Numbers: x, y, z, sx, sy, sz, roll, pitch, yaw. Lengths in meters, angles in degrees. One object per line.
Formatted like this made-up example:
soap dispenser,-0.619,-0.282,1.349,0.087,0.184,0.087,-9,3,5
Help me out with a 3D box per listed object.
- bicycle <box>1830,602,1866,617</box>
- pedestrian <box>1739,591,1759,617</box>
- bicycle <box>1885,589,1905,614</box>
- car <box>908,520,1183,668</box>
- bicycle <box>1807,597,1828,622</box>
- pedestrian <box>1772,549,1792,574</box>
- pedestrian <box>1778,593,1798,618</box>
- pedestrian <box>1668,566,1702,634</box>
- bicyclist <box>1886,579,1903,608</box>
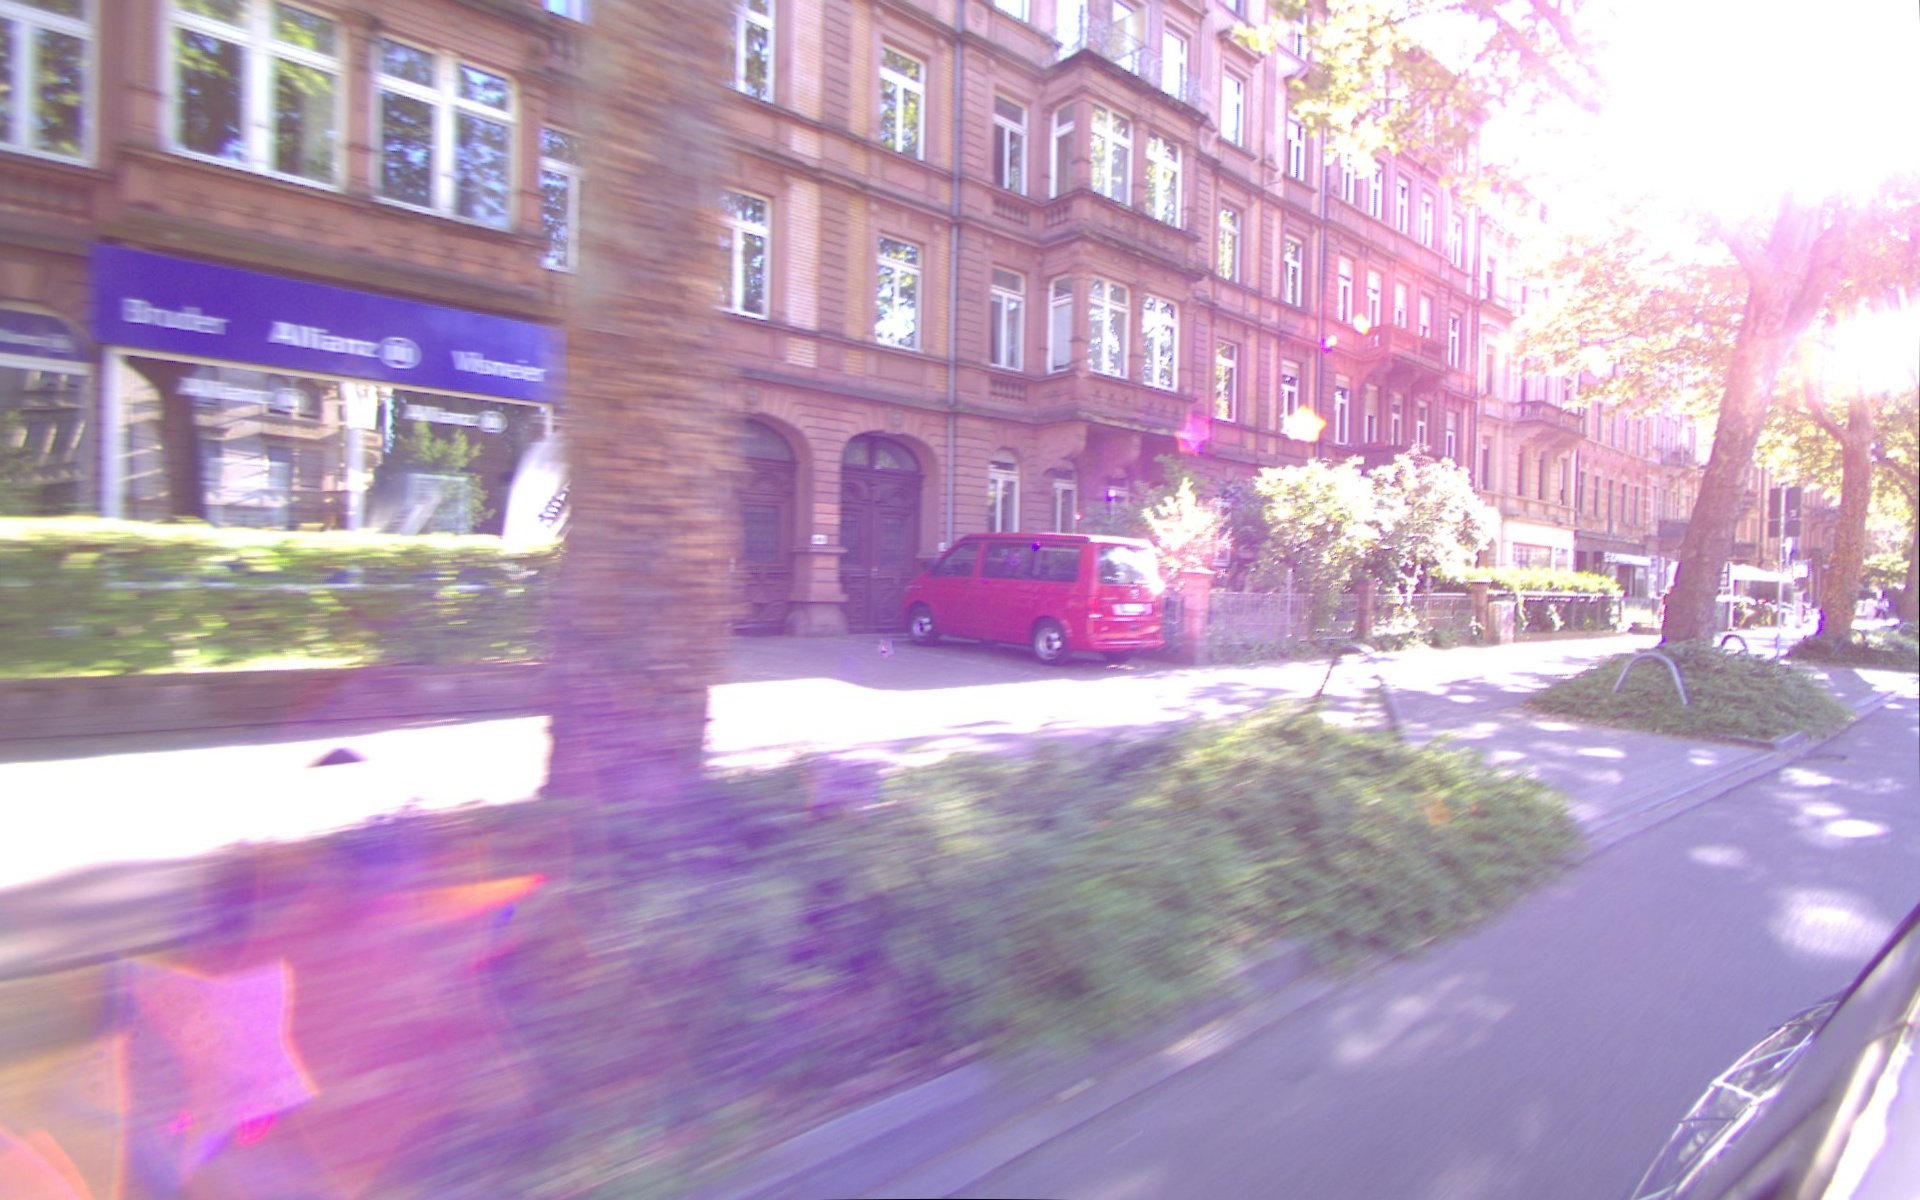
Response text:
bicycle,56.564,0.595,64.472,1.687,0.928,0.594,2,1,38
pedestrian,41.222,0.193,52.875,0.651,1.316,0.714,0,1,-40
bicycle,46.408,0.069,50.230,2.188,1.193,0.561,2,-3,-44
car,1.277,-0.210,16.535,1.966,2.038,4.183,0,4,-42
bicycle,42.063,0.459,49.614,1.863,1.157,0.476,0,3,-42
pedestrian,43.456,-2.027,53.481,0.651,1.316,0.714,0,1,-42
pedestrian,44.404,0.274,54.272,0.651,1.316,0.714,0,1,-42
pedestrian,22.040,-0.013,30.765,0.622,2.039,0.674,1,1,-42
bicyclist,46.425,-0.308,50.257,0.633,1.398,0.543,2,-3,-43
